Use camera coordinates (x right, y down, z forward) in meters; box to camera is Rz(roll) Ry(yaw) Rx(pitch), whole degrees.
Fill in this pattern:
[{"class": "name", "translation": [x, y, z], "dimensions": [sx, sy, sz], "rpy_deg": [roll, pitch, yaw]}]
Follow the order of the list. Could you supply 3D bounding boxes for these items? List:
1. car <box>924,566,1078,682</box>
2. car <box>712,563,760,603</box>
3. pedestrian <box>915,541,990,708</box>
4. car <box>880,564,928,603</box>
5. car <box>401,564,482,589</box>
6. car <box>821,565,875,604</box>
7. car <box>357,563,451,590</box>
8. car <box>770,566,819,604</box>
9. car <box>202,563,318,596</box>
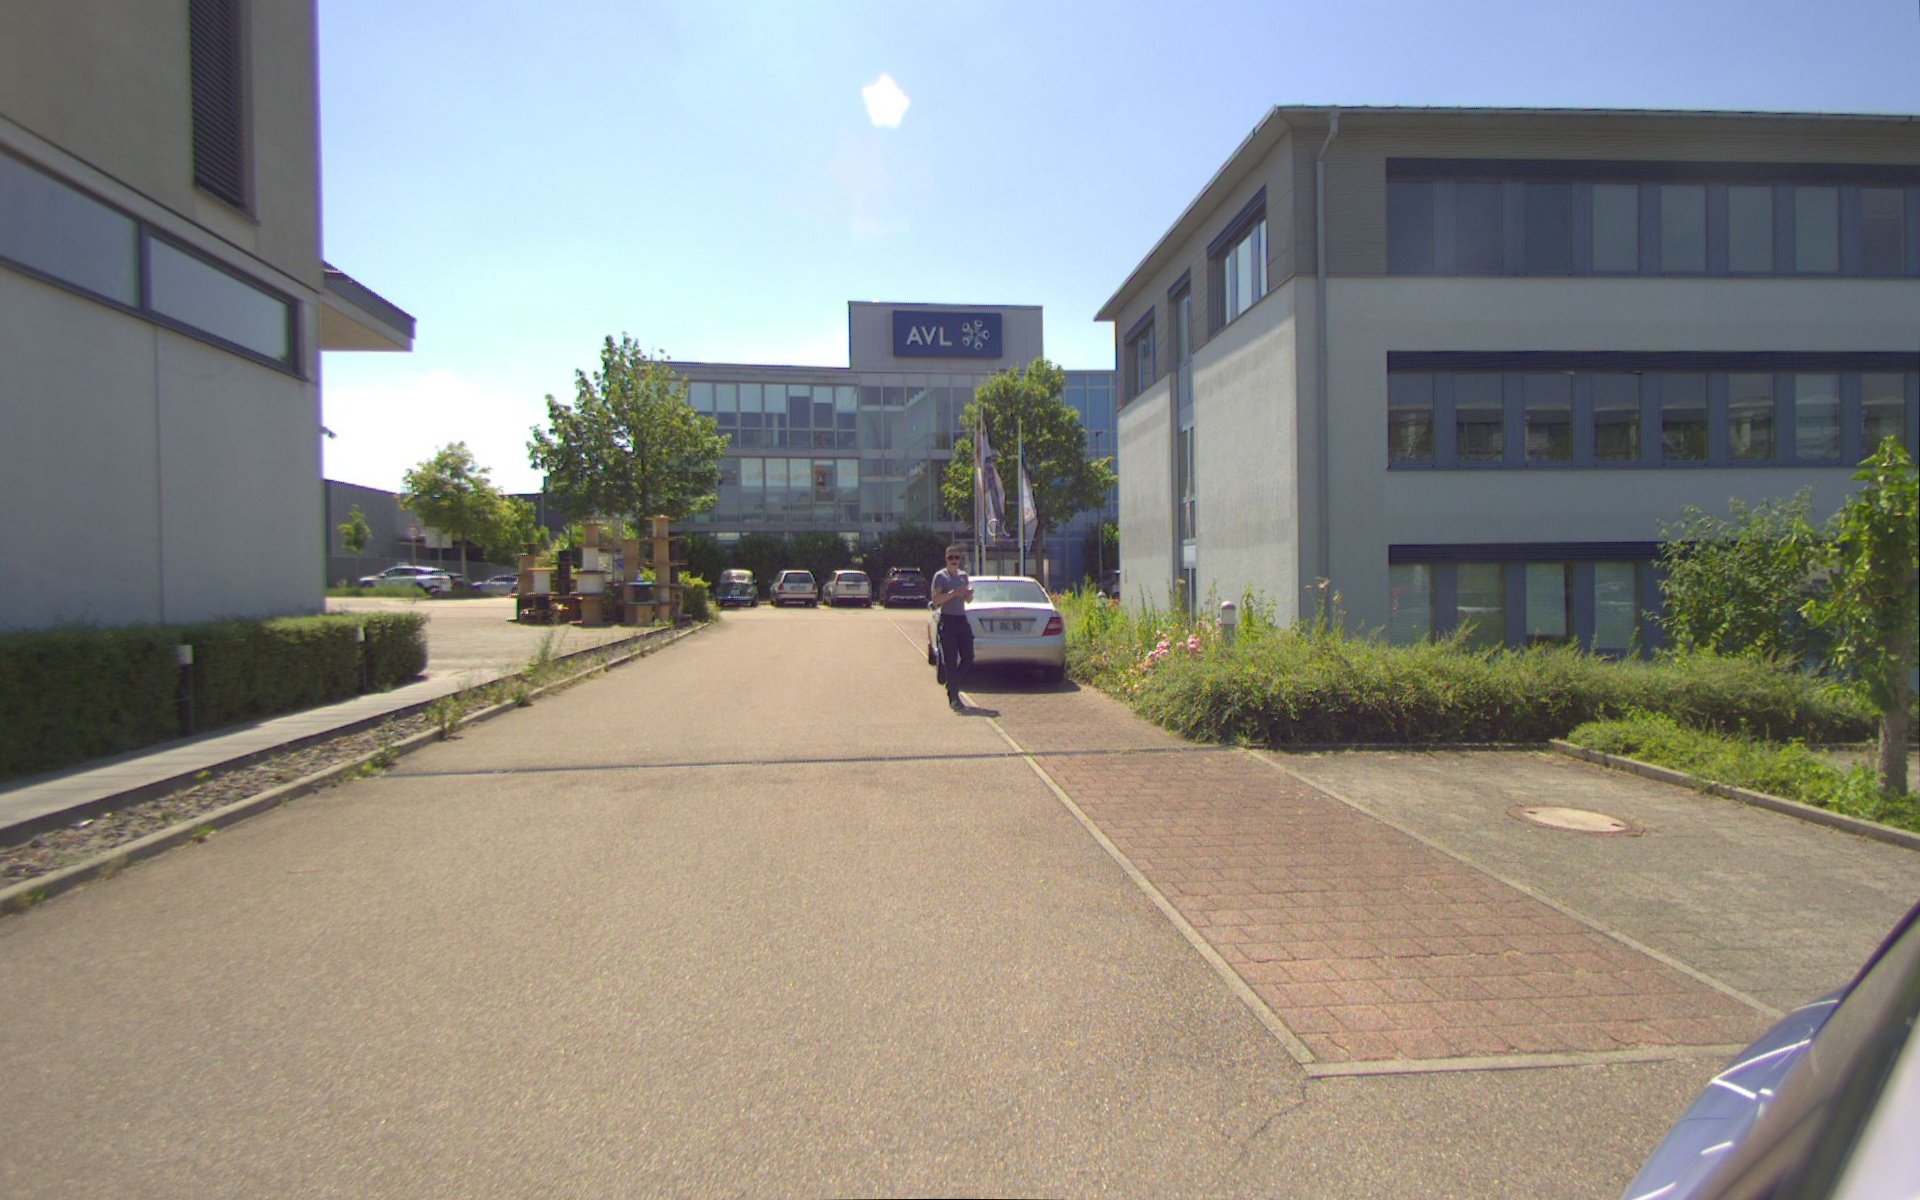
[{"class": "car", "translation": [0.461, 0.275, 14.609], "dimensions": [1.695, 1.454, 3.721], "rpy_deg": [0, 1, -6]}, {"class": "car", "translation": [-8.997, -0.665, 40.944], "dimensions": [1.713, 1.538, 4.007], "rpy_deg": [0, 1, -10]}, {"class": "pedestrian", "translation": [-0.094, 0.254, 11.274], "dimensions": [0.606, 1.779, 0.790], "rpy_deg": [0, 0, -19]}, {"class": "car", "translation": [-2.379, -0.677, 42.150], "dimensions": [1.714, 1.538, 4.006], "rpy_deg": [0, 1, -7]}, {"class": "car", "translation": [-30.619, -1.374, 59.820], "dimensions": [3.996, 1.433, 1.746], "rpy_deg": [0, 0, 6]}, {"class": "car", "translation": [-4.731, -0.660, 42.211], "dimensions": [1.713, 1.538, 4.008], "rpy_deg": [0, 1, -14]}, {"class": "car", "translation": [-30.854, -1.280, 56.179], "dimensions": [4.371, 1.433, 1.746], "rpy_deg": [0, 0, 6]}, {"class": "car", "translation": [-6.820, -0.606, 41.396], "dimensions": [1.639, 1.458, 4.008], "rpy_deg": [0, 1, -14]}, {"class": "car", "translation": [-32.049, -0.928, 46.380], "dimensions": [4.372, 1.433, 1.746], "rpy_deg": [0, 0, 8]}]
